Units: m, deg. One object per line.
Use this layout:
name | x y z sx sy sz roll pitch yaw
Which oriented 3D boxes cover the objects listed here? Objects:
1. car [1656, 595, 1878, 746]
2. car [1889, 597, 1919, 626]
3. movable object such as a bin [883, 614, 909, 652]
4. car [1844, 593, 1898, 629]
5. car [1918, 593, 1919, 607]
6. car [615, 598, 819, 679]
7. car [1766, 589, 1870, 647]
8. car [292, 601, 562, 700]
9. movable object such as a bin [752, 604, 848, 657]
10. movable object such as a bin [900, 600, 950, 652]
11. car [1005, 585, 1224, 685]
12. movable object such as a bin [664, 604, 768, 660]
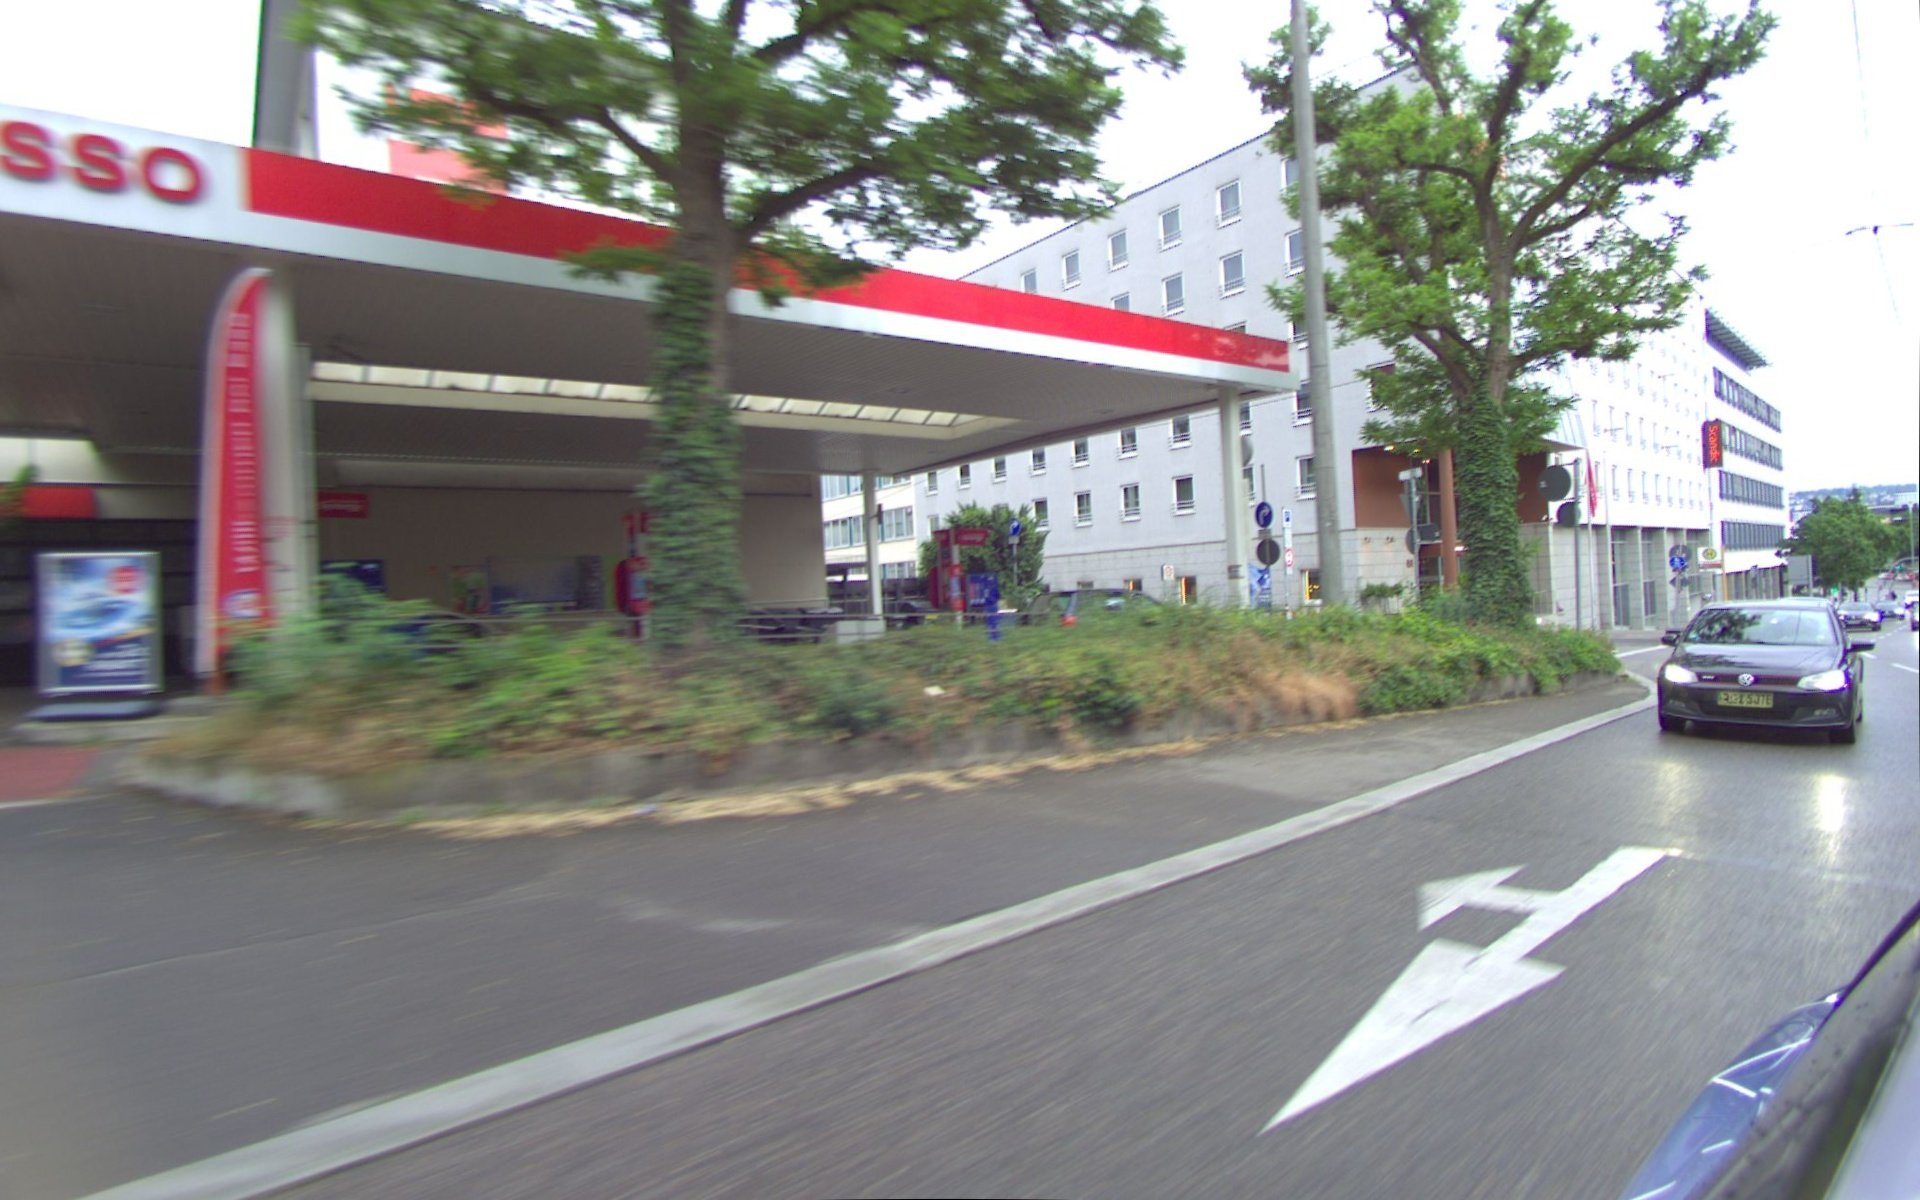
car | 9.225 0.664 11.456 1.673 1.417 3.789 -1 -1 43
car | 70.557 0.853 75.401 1.793 1.971 3.938 -5 -3 43
movable object such as a bin | -1.952 1.006 30.921 0.648 1.155 0.454 0 -2 -38
car | 47.588 0.566 52.861 3.935 1.688 1.794 -1 -3 -45
car | 111.326 -0.048 116.198 1.792 1.530 3.939 -5 -3 42
car | -5.288 0.824 22.219 3.927 1.530 1.798 -2 -3 -37
car | 24.605 0.492 28.981 3.644 1.460 1.748 -1 -3 -43
car | -9.756 0.892 18.645 4.154 1.530 1.798 -2 -3 -37
movable object such as a bin | -4.561 0.854 28.917 2.462 1.444 1.165 0 -2 -38
movable object such as a bin | -1.080 0.795 31.423 1.335 1.586 0.766 0 -2 -38
car | 2.869 0.555 18.538 3.792 1.644 1.778 -1 0 -35
movable object such as a bin | -6.588 0.852 27.372 2.462 1.444 1.165 0 -2 -38
